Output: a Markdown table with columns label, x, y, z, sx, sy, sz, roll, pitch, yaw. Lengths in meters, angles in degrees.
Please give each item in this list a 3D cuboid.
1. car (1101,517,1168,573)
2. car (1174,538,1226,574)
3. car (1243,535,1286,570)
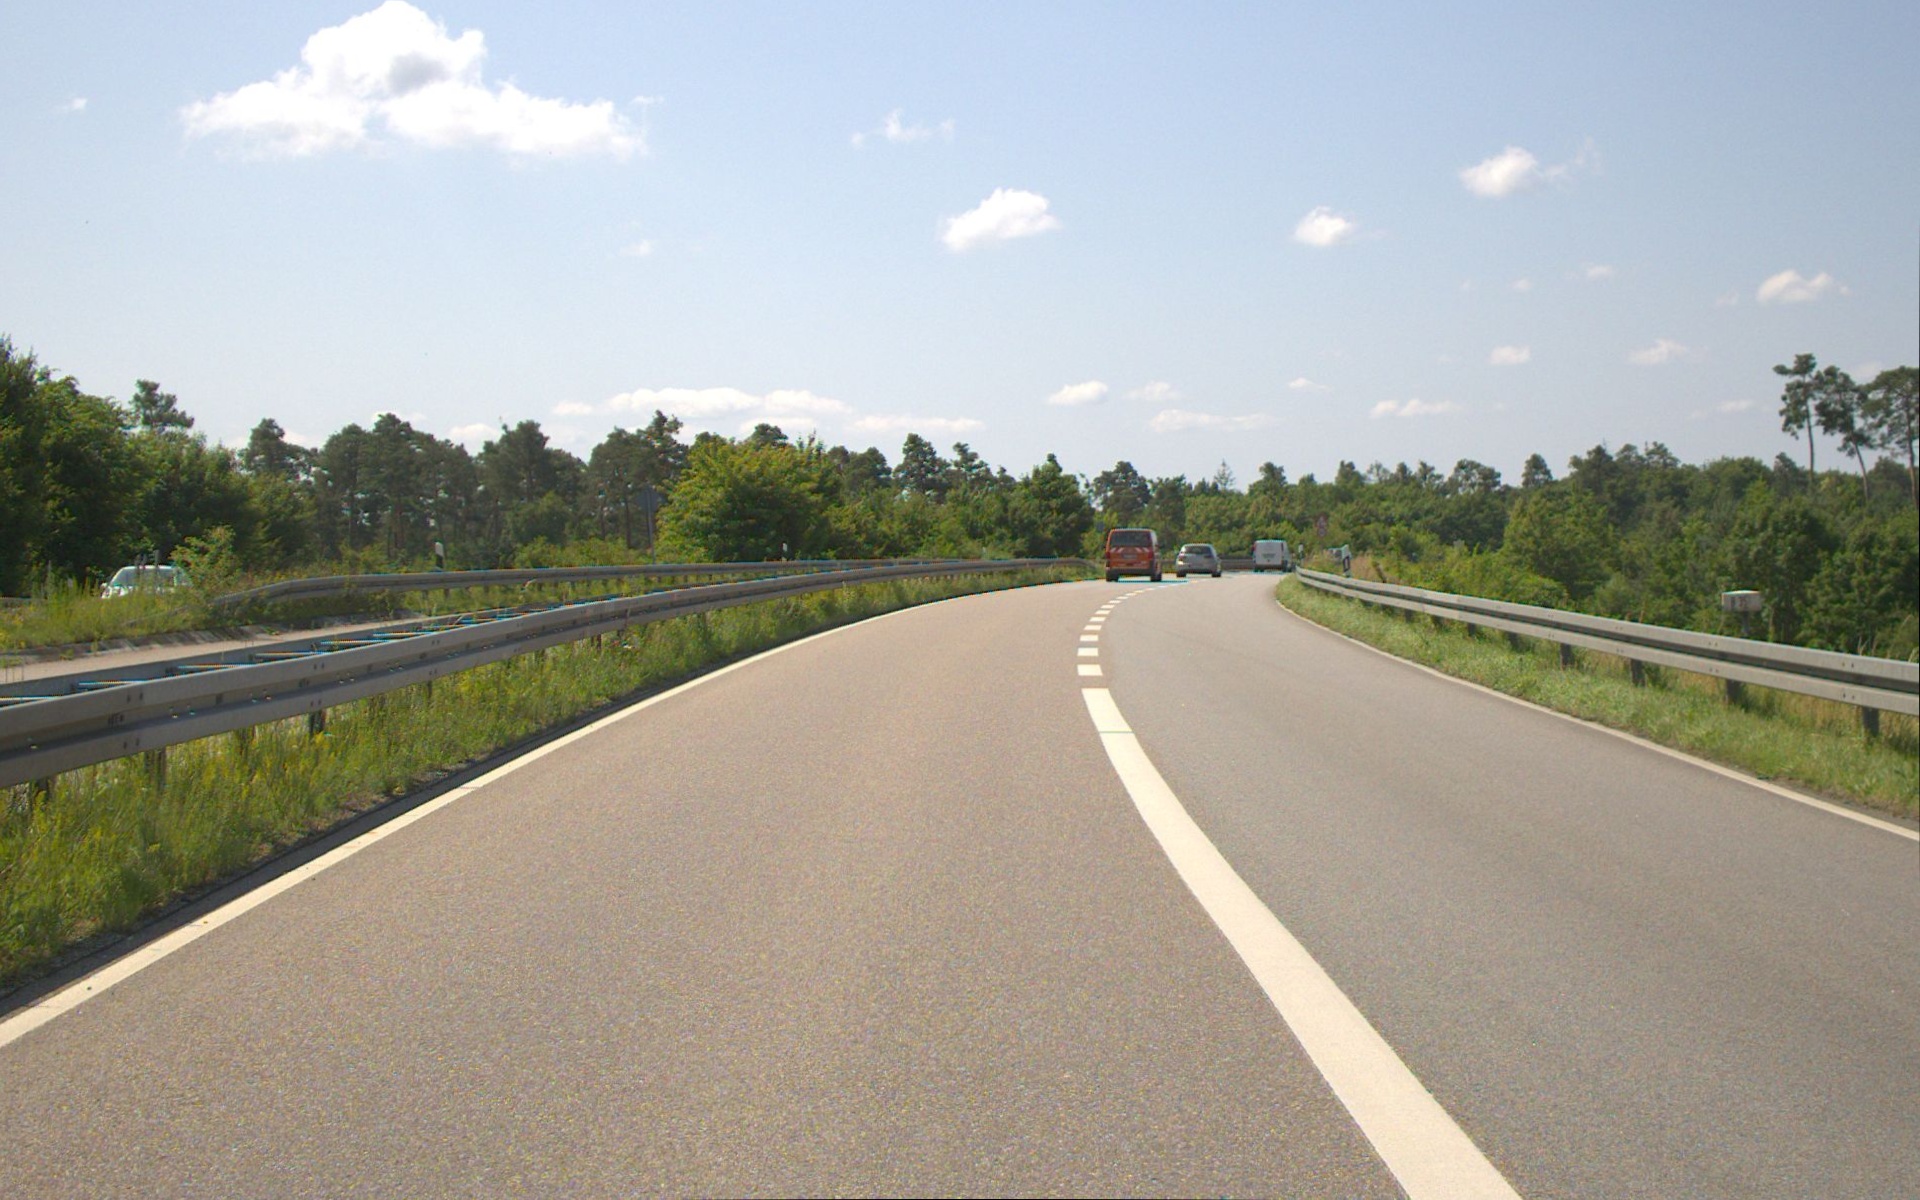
| label | x | y | z | sx | sy | sz | roll | pitch | yaw |
| --- | --- | --- | --- | --- | --- | --- | --- | --- | --- |
| car | 6.513 | -2.035 | 127.662 | 2.078 | 1.986 | 5.110 | 1 | 0 | 7 |
| car | 10.449 | -1.908 | 149.664 | 2.008 | 1.489 | 4.237 | 1 | 0 | 7 |
| car | 17.849 | -2.755 | 201.171 | 2.185 | 1.948 | 5.802 | 1 | 0 | 8 |
